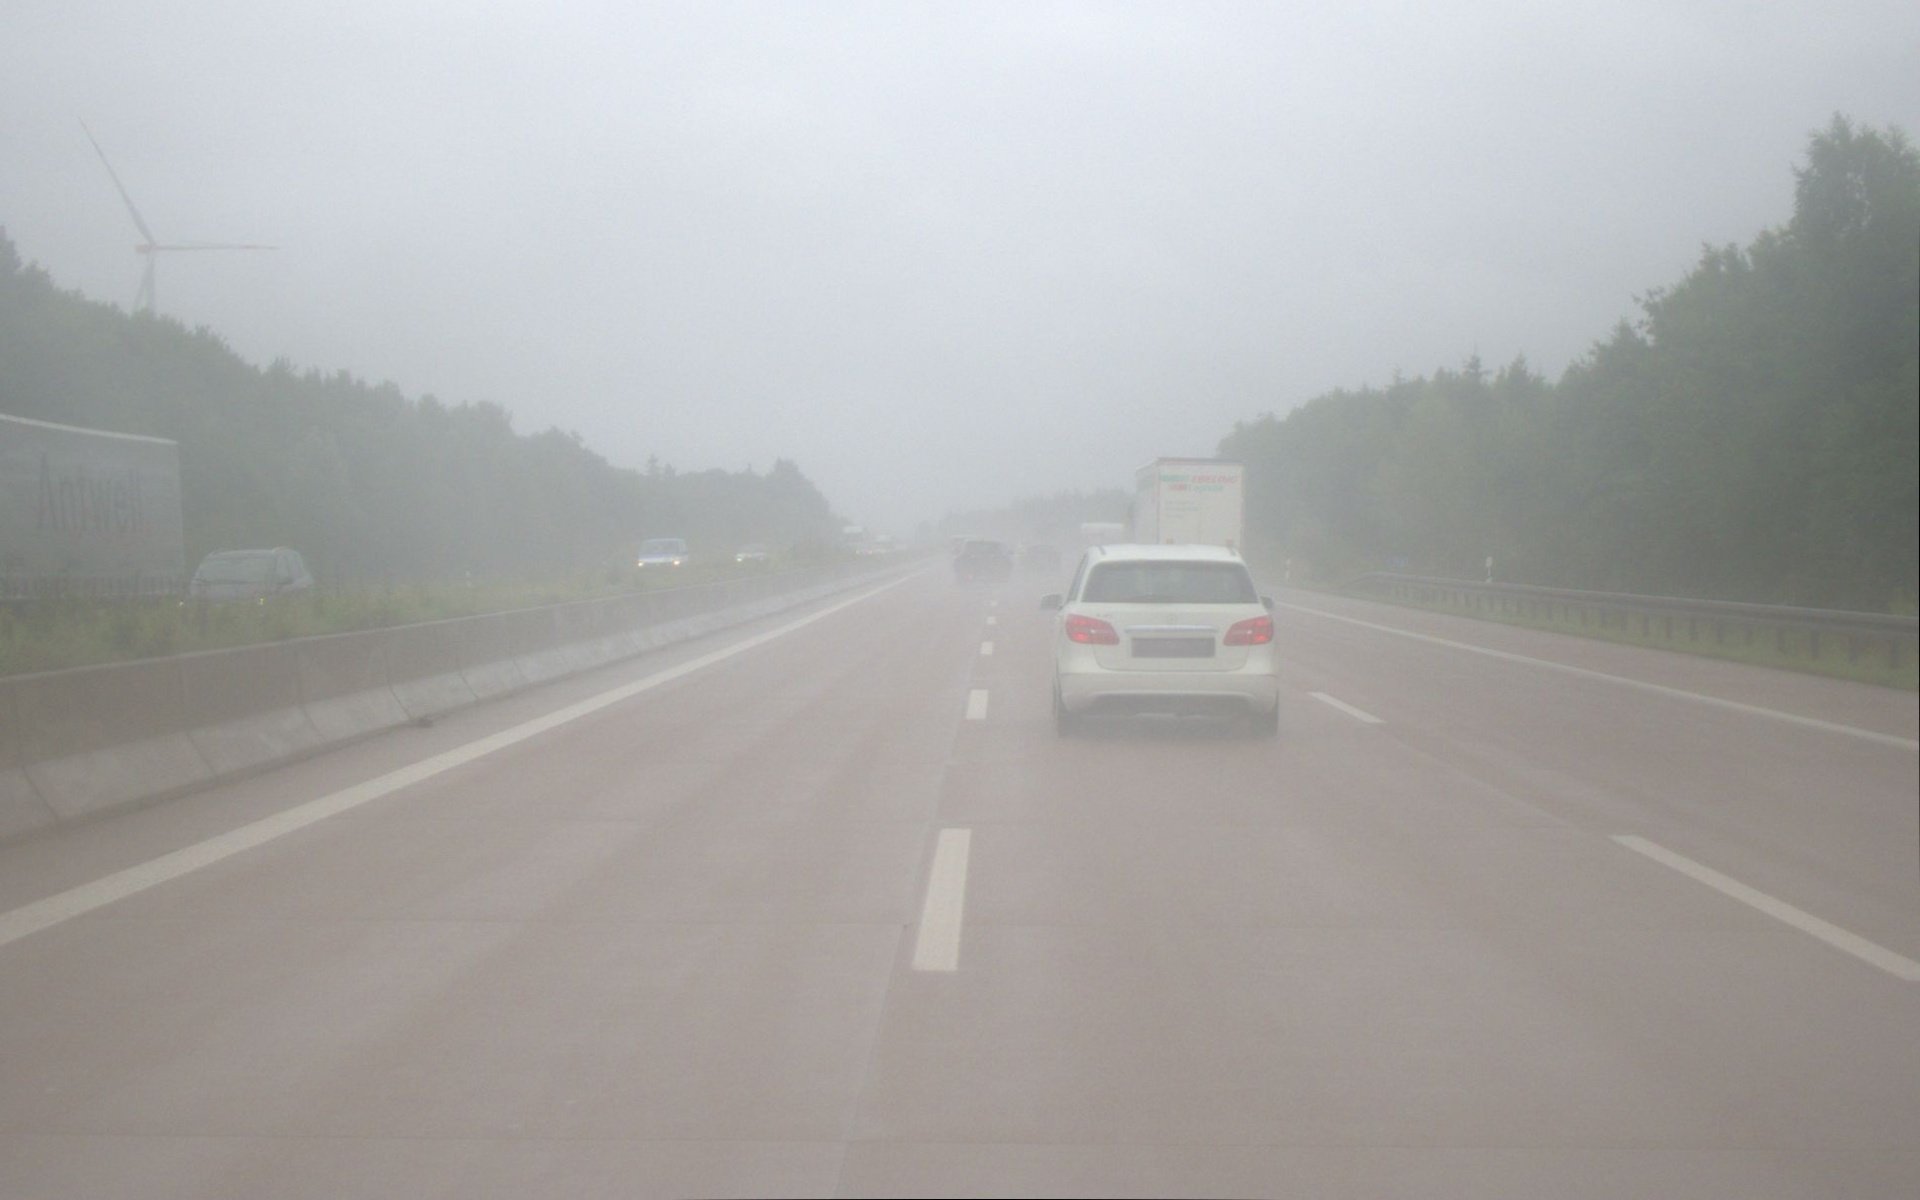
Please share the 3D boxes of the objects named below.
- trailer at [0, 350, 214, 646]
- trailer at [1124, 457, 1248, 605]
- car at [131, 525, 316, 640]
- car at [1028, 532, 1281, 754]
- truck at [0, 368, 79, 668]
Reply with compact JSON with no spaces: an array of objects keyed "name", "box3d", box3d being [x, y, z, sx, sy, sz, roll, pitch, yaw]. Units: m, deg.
[{"name":"trailer","box3d":[-17.340,-1.853,64.287,3.754,4.936,13.682,1,1,0]},{"name":"trailer","box3d":[6.896,-2.177,106.719,2.852,4.217,13.133,-1,1,0]},{"name":"car","box3d":[-13.478,-0.357,63.221,2.306,2.007,5.152,0,1,0]},{"name":"car","box3d":[1.581,0.299,29.558,1.808,1.722,4.744,1,1,-1]},{"name":"truck","box3d":[-17.392,-1.367,56.955,3.679,4.854,7.255,1,0,0]}]
